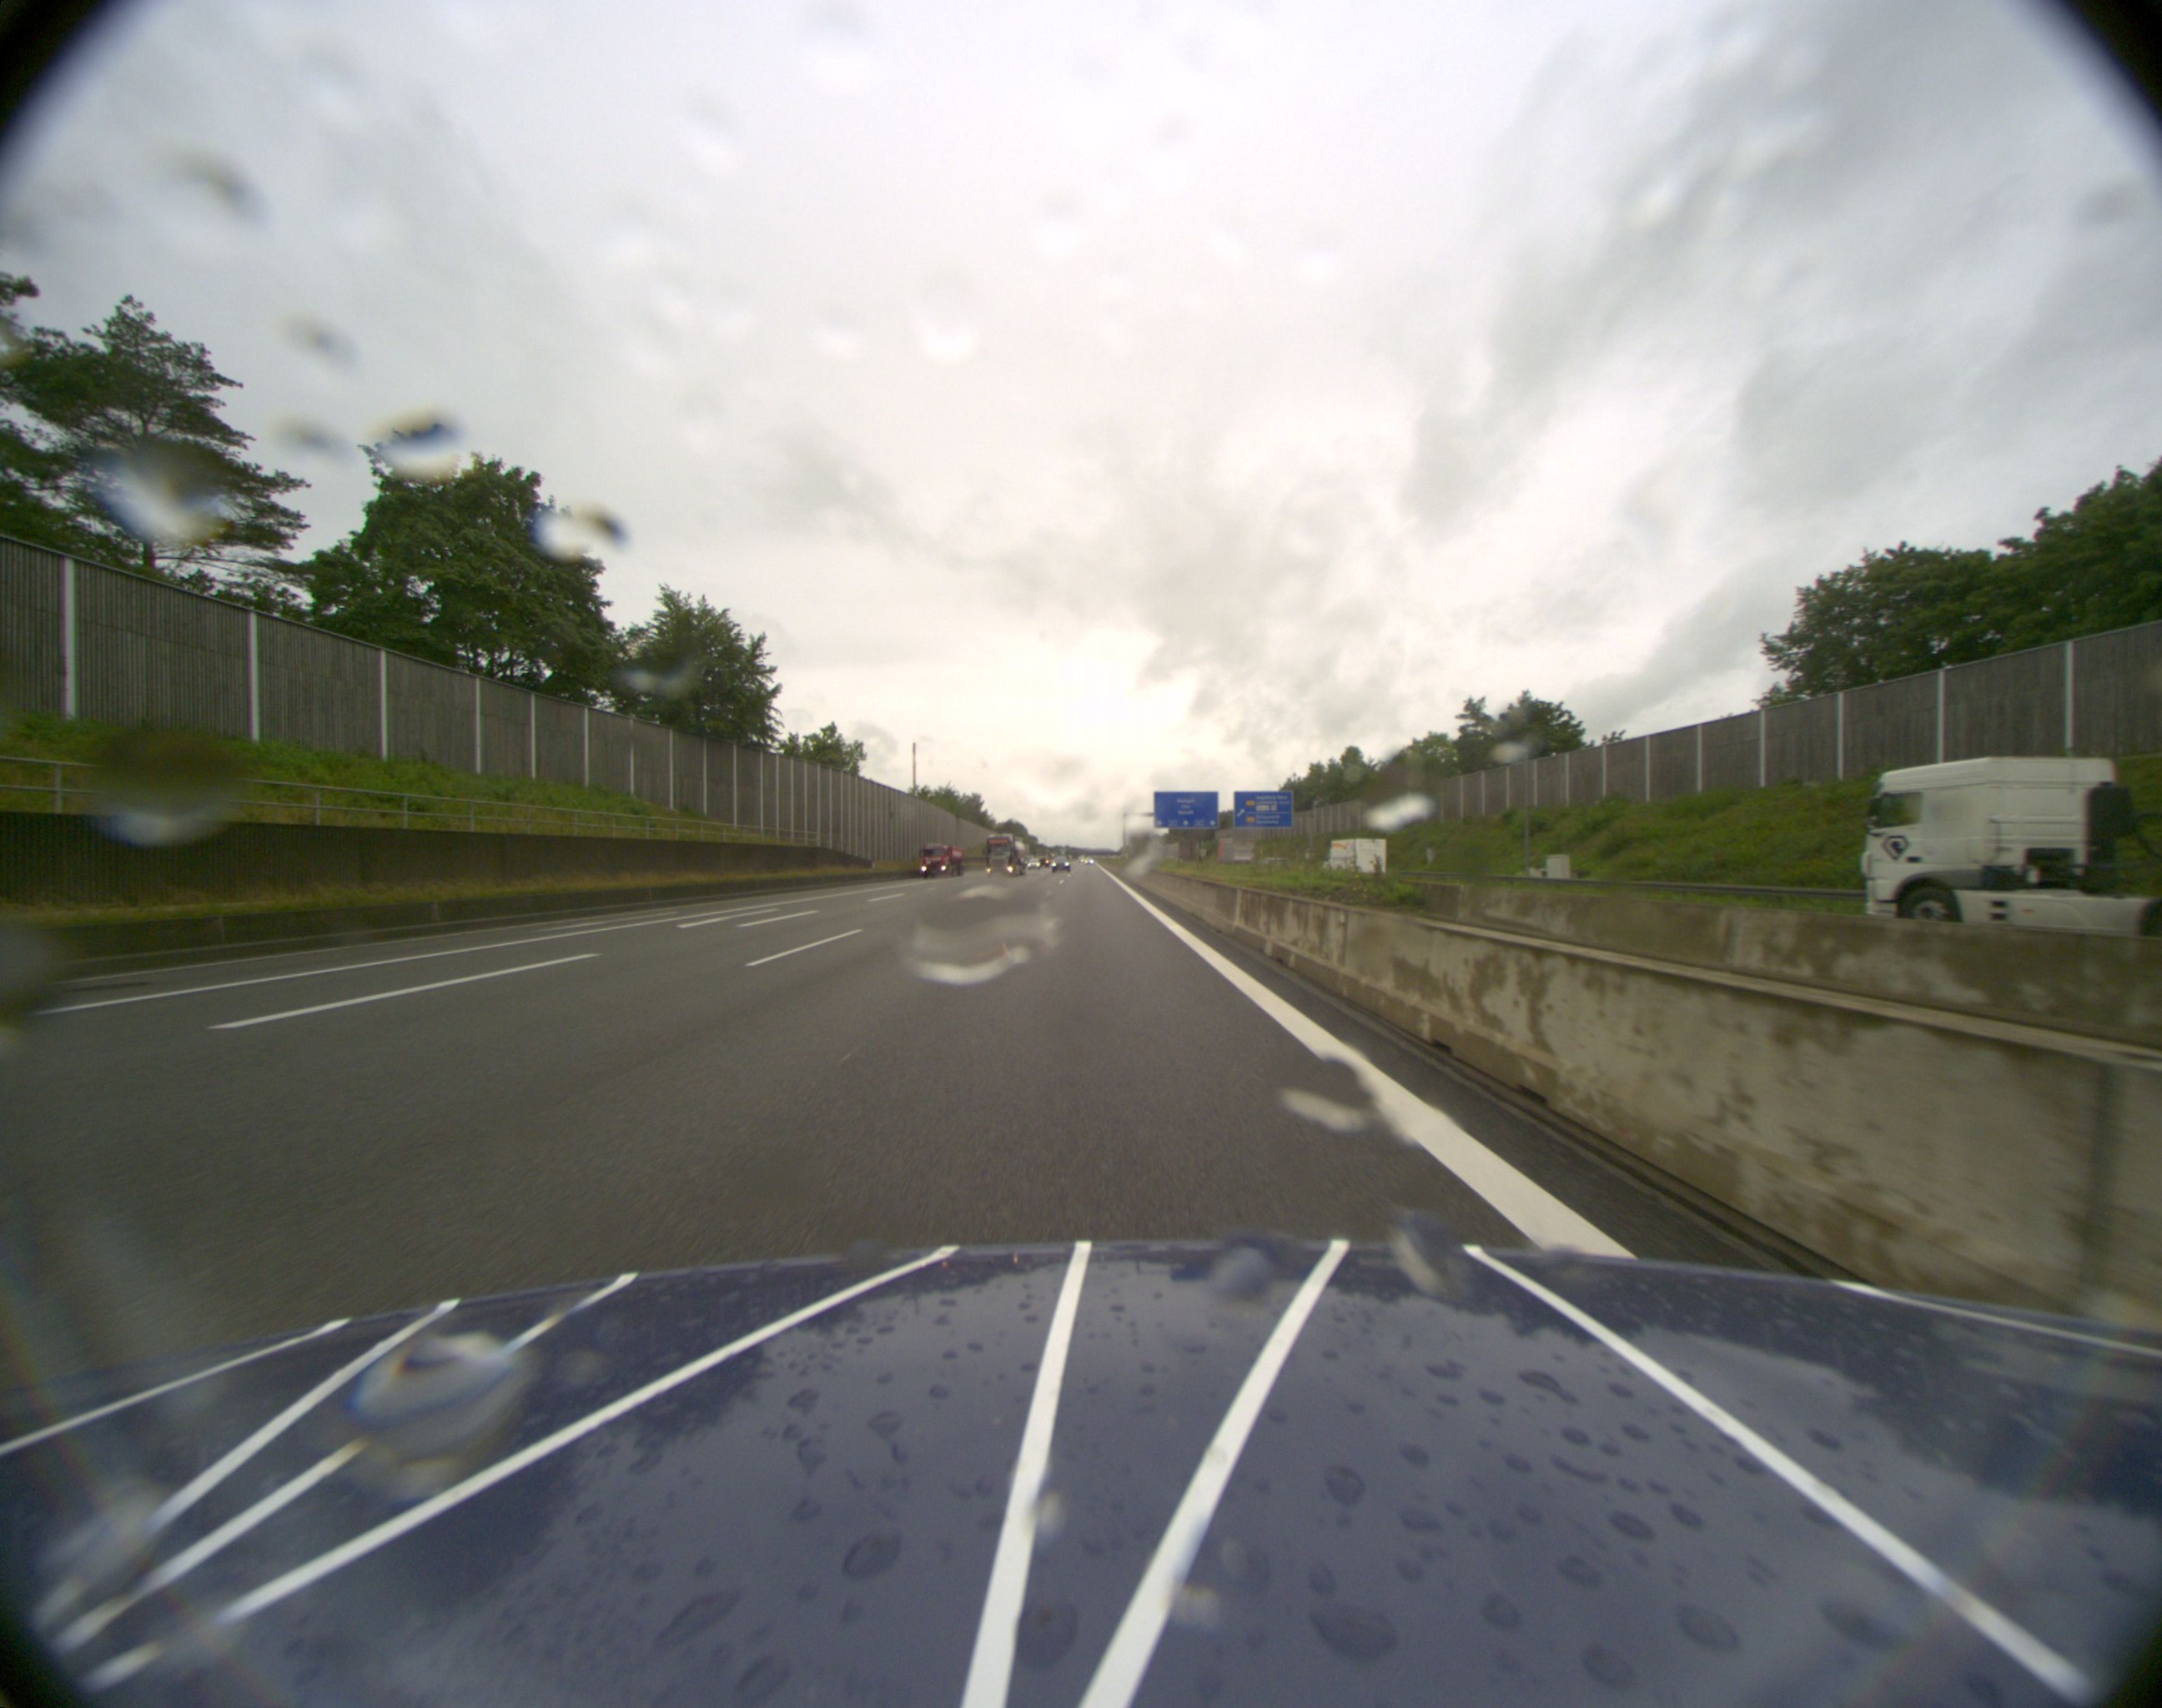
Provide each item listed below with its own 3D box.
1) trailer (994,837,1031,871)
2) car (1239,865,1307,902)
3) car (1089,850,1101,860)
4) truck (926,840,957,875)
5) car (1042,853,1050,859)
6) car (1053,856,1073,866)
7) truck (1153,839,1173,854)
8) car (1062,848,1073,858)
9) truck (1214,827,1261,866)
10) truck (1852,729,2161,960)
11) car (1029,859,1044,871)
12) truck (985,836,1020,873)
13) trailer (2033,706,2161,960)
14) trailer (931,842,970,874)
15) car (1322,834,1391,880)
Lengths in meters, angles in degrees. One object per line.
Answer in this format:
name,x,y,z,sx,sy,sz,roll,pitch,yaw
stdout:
trailer,-6.839,0.009,76.943,2.600,3.228,9.915,0,0,1
car,10.135,1.503,40.575,2.369,1.647,5.094,-2,1,1
car,3.234,0.180,180.882,2.680,2.340,5.807,0,0,-1
truck,-13.957,0.310,76.355,2.421,3.445,3.999,-1,0,-2
car,-6.513,0.348,143.146,1.275,1.116,2.844,-2,1,1
car,-2.055,0.845,87.681,2.061,1.020,3.438,-2,1,1
truck,15.883,-1.390,147.716,2.982,2.756,7.263,0,0,0
car,-3.695,-0.297,207.288,2.769,2.591,5.807,0,0,-1
truck,18.611,-0.810,91.261,3.326,4.216,11.145,-2,0,0
truck,17.941,-0.118,13.335,2.707,3.537,5.857,2,1,1
car,-6.830,1.669,116.158,1.916,1.630,3.999,-2,1,1
truck,-7.141,0.048,69.901,2.617,3.218,4.632,0,0,1
trailer,17.873,-0.241,7.798,2.718,3.901,10.644,2,1,1
trailer,-13.972,0.369,82.111,2.452,3.228,9.400,0,0,0
car,18.772,0.178,52.182,2.369,2.953,6.688,-1,0,0
